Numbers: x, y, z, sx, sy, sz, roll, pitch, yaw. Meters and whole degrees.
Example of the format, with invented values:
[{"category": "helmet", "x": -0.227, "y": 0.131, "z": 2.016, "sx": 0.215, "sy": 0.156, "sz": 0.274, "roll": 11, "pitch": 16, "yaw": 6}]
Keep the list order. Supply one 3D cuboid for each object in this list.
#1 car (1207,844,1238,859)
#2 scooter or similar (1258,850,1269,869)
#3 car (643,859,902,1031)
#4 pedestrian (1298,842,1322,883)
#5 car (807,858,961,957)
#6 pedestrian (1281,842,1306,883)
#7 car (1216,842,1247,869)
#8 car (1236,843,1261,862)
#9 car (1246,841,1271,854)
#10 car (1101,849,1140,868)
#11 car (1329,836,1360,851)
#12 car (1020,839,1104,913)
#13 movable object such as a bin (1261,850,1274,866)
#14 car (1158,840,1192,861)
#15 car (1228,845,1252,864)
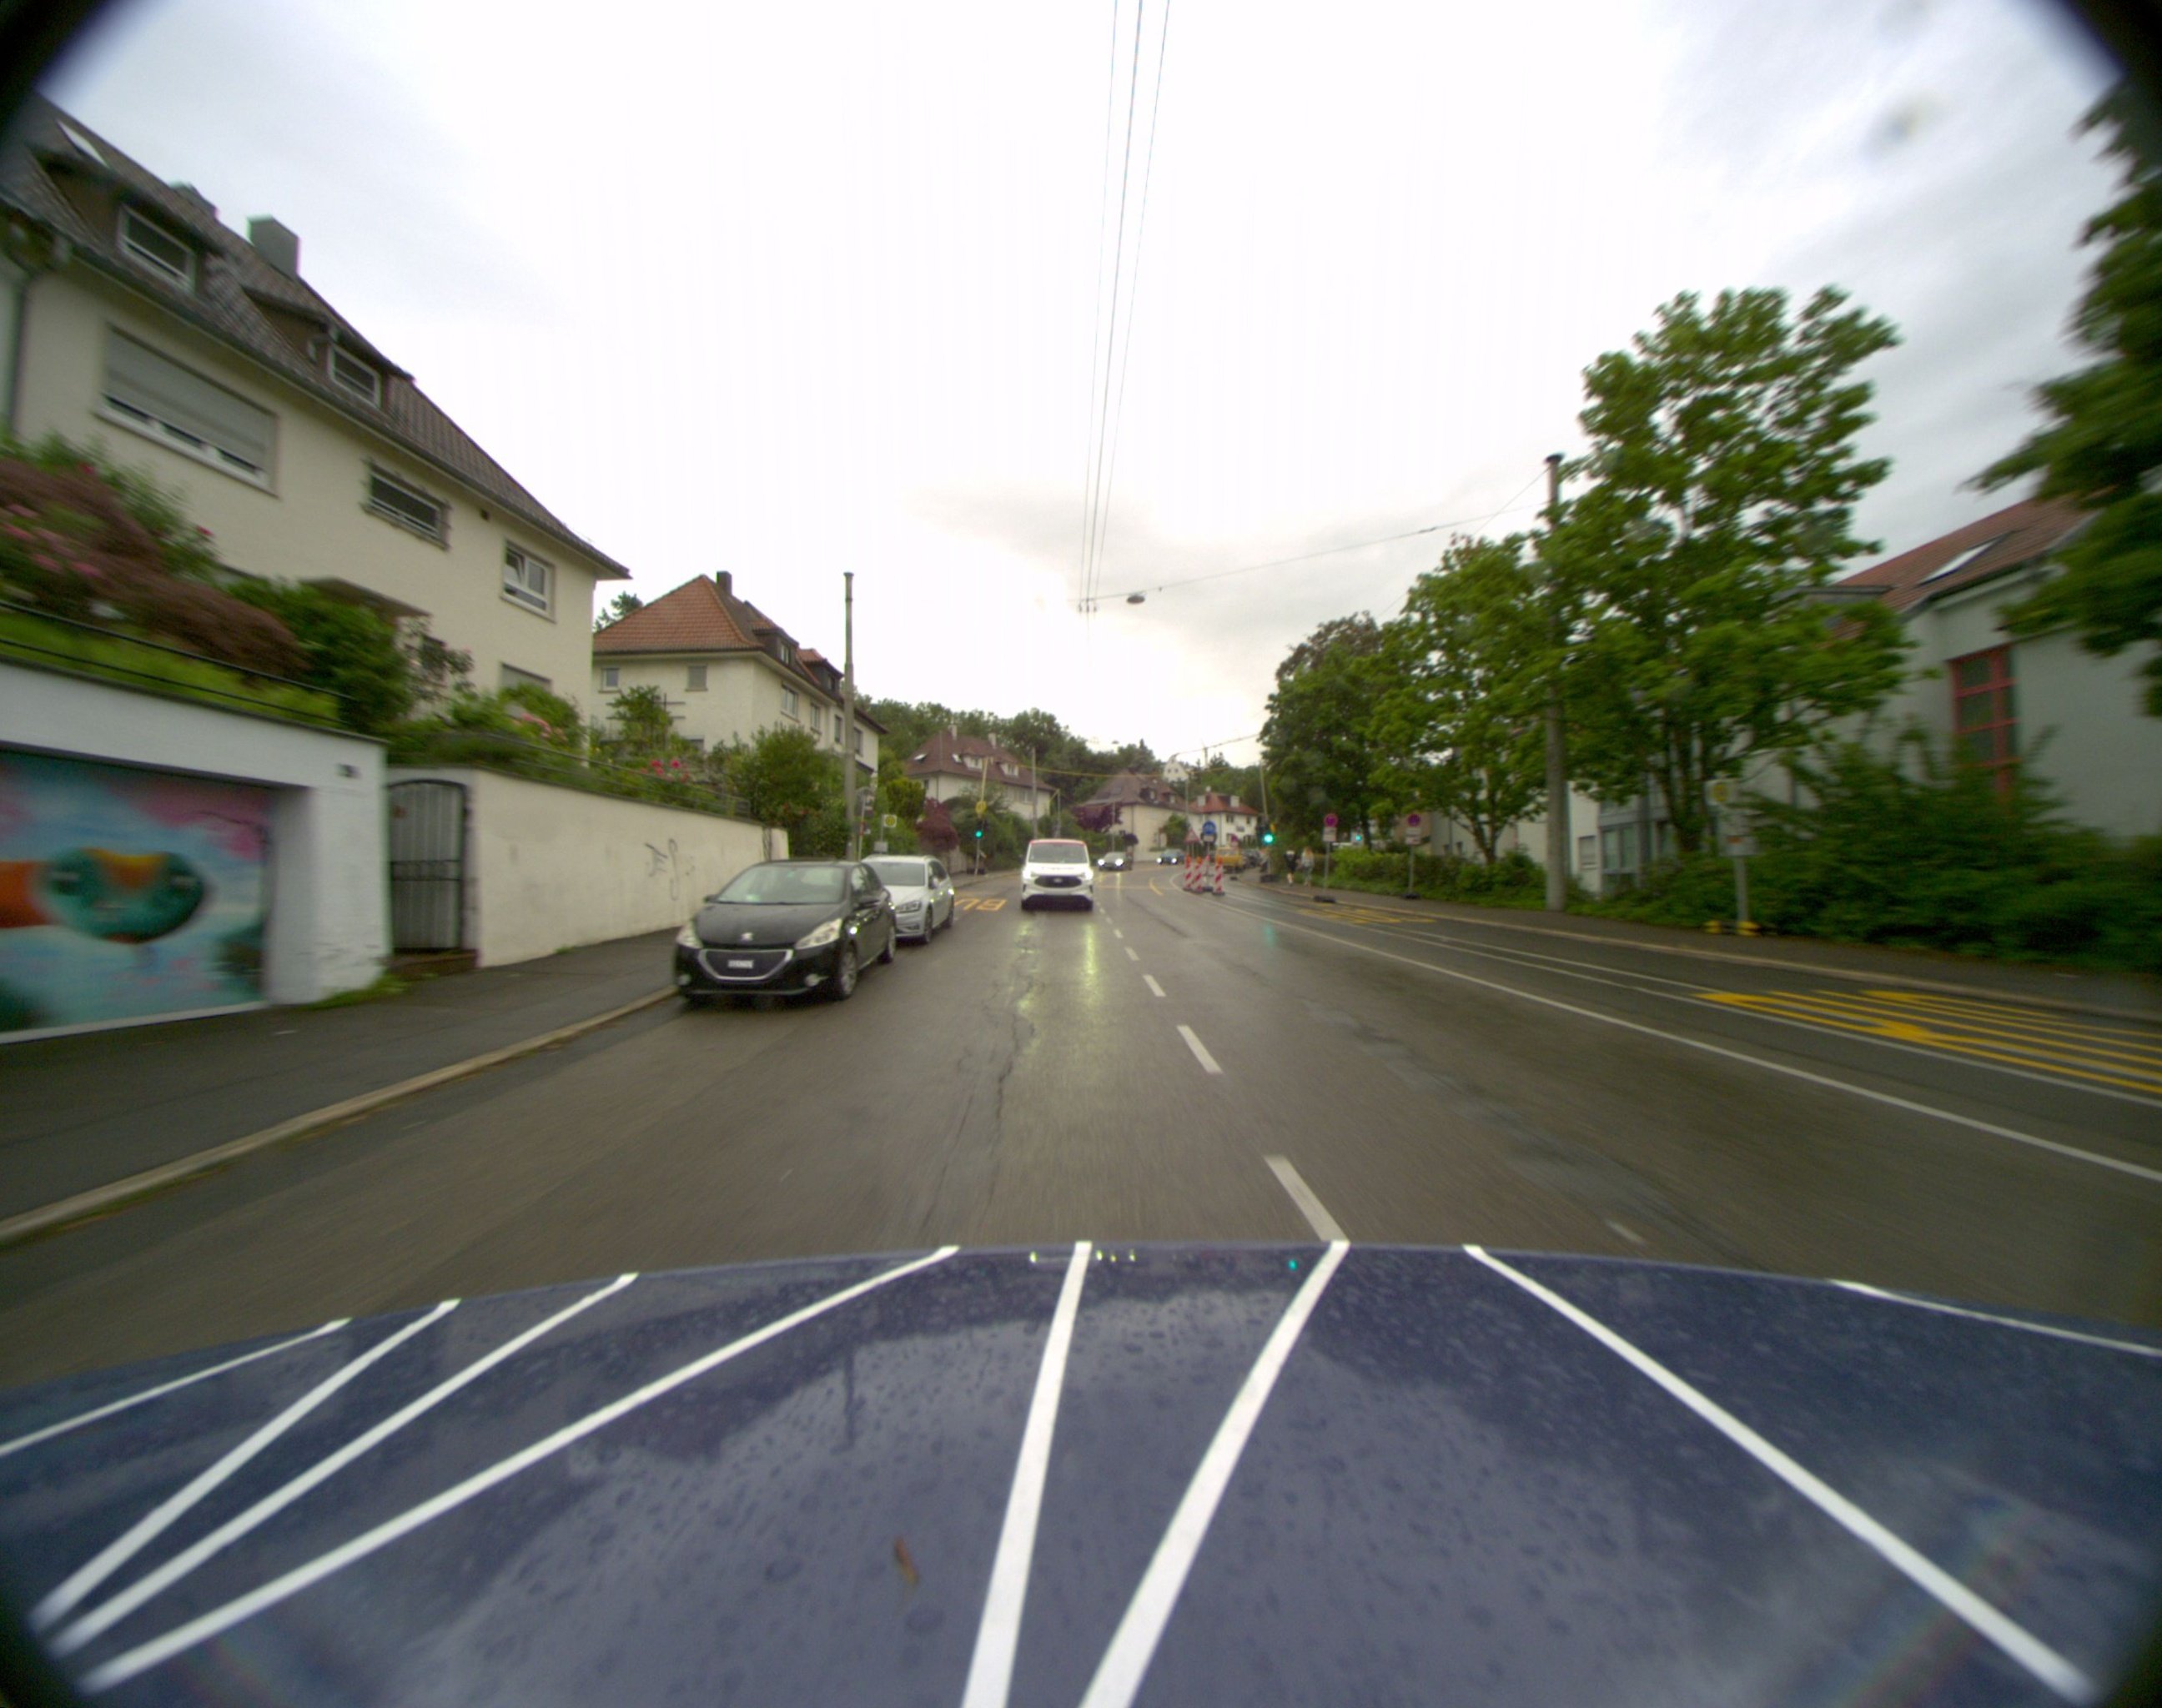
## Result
[{"category": "car", "x": 14.449, "y": -0.288, "z": 77.460, "sx": 1.699, "sy": 1.452, "sz": 4.692, "roll": 2, "pitch": 1, "yaw": 28}, {"category": "scooter or similar", "x": 13.112, "y": 0.393, "z": 54.490, "sx": 0.399, "sy": 1.253, "sz": 1.319, "roll": -3, "pitch": 1, "yaw": 28}, {"category": "car", "x": -3.325, "y": 0.862, "z": 9.059, "sx": 1.719, "sy": 1.504, "sz": 3.998, "roll": 0, "pitch": 1, "yaw": -4}, {"category": "pedestrian", "x": 10.201, "y": 0.386, "z": 33.911, "sx": 0.682, "sy": 1.806, "sz": 1.155, "roll": -1, "pitch": 0, "yaw": -2}, {"category": "car", "x": -3.413, "y": 0.847, "z": 14.036, "sx": 1.786, "sy": 1.412, "sz": 4.428, "roll": 1, "pitch": 1, "yaw": -1}, {"category": "pedestrian", "x": 9.453, "y": 0.375, "z": 33.821, "sx": 0.709, "sy": 1.806, "sz": 1.147, "roll": -1, "pitch": 0, "yaw": -2}, {"category": "car", "x": 11.630, "y": 0.043, "z": 58.541, "sx": 1.805, "sy": 1.917, "sz": 4.582, "roll": 2, "pitch": 2, "yaw": 17}, {"category": "car", "x": 15.283, "y": -0.139, "z": 69.121, "sx": 1.721, "sy": 1.599, "sz": 4.468, "roll": 0, "pitch": 1, "yaw": 19}, {"category": "car", "x": 20.147, "y": -0.725, "z": 85.983, "sx": 1.699, "sy": 1.453, "sz": 3.943, "roll": 2, "pitch": 1, "yaw": 29}, {"category": "car", "x": 3.125, "y": 0.317, "z": 59.097, "sx": 1.986, "sy": 1.428, "sz": 4.520, "roll": 0, "pitch": 1, "yaw": 17}, {"category": "car", "x": 32.994, "y": -1.287, "z": 95.028, "sx": 4.472, "sy": 1.791, "sz": 1.805, "roll": -2, "pitch": 2, "yaw": -43}, {"category": "car", "x": -0.675, "y": 0.546, "z": 22.131, "sx": 2.043, "sy": 1.928, "sz": 4.511, "roll": 1, "pitch": 1, "yaw": -6}, {"category": "movable object such as a bin", "x": 13.143, "y": 0.294, "z": 53.526, "sx": 0.859, "sy": 1.134, "sz": 0.713, "roll": 0, "pitch": 3, "yaw": 15}, {"category": "car", "x": 9.542, "y": -0.368, "z": 76.690, "sx": 2.011, "sy": 1.929, "sz": 4.006, "roll": 1, "pitch": 3, "yaw": 30}, {"category": "car", "x": 13.341, "y": -0.003, "z": 63.635, "sx": 1.576, "sy": 1.446, "sz": 3.468, "roll": 1, "pitch": 2, "yaw": 19}]
